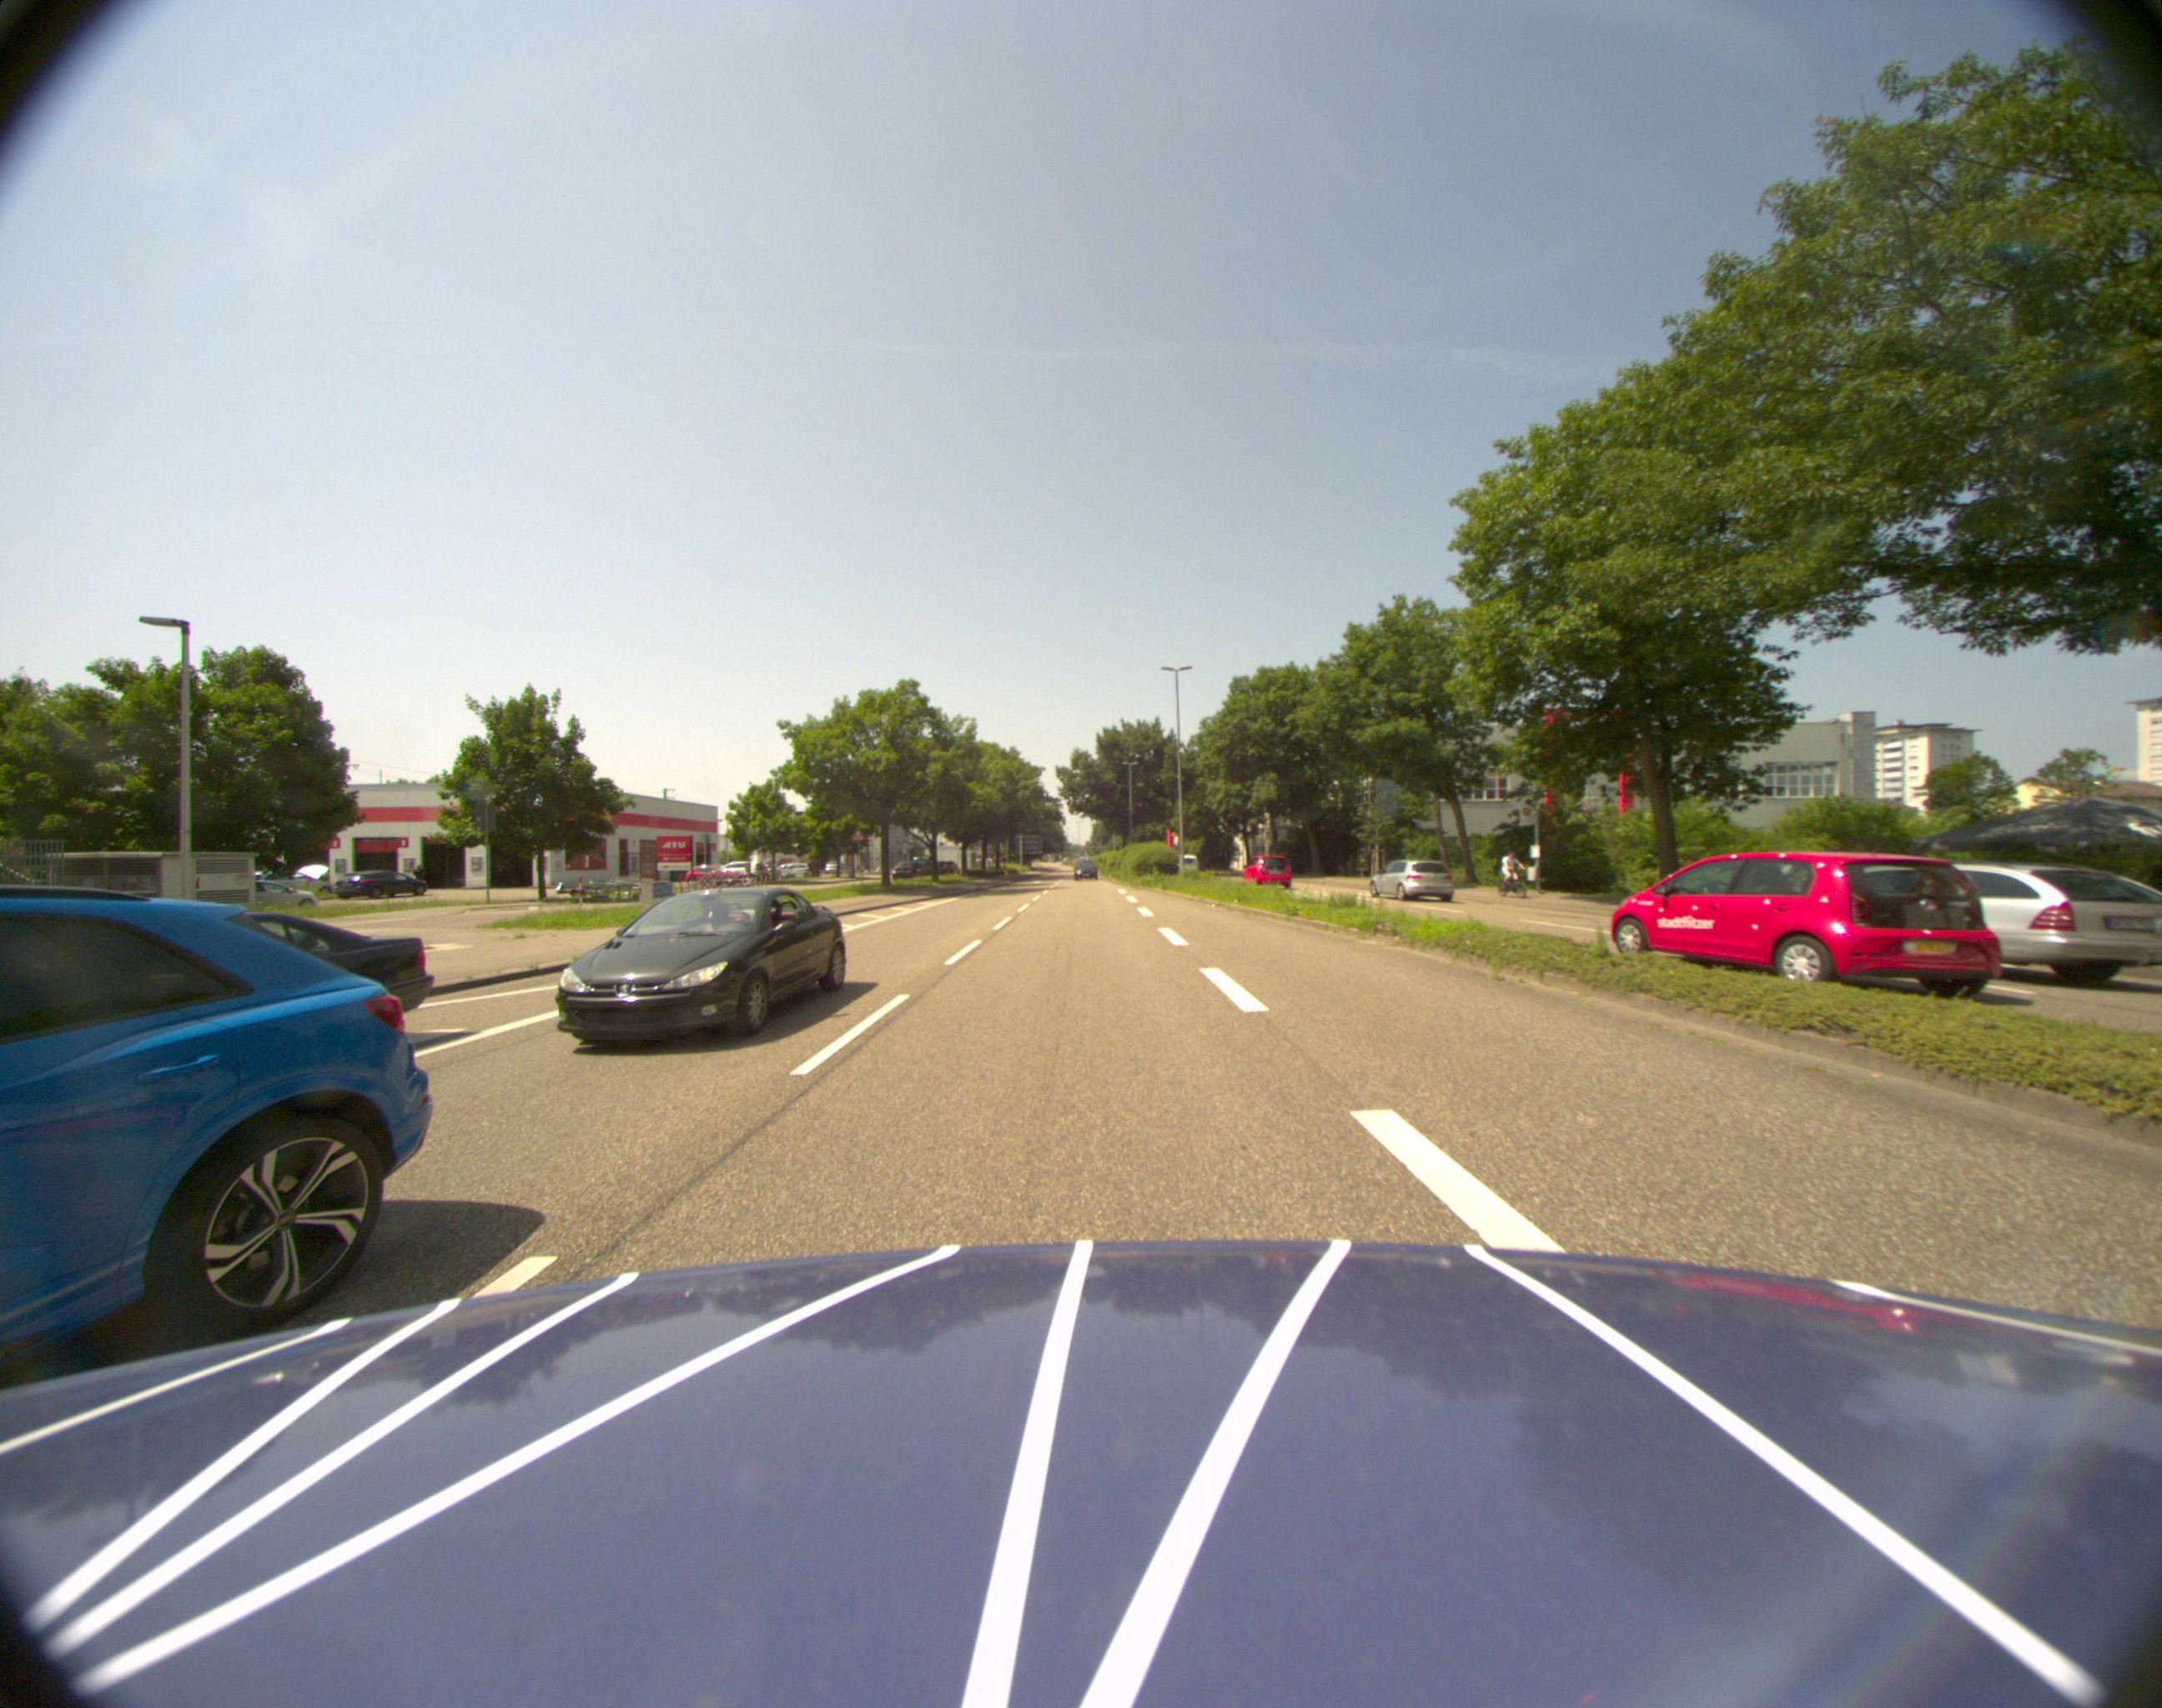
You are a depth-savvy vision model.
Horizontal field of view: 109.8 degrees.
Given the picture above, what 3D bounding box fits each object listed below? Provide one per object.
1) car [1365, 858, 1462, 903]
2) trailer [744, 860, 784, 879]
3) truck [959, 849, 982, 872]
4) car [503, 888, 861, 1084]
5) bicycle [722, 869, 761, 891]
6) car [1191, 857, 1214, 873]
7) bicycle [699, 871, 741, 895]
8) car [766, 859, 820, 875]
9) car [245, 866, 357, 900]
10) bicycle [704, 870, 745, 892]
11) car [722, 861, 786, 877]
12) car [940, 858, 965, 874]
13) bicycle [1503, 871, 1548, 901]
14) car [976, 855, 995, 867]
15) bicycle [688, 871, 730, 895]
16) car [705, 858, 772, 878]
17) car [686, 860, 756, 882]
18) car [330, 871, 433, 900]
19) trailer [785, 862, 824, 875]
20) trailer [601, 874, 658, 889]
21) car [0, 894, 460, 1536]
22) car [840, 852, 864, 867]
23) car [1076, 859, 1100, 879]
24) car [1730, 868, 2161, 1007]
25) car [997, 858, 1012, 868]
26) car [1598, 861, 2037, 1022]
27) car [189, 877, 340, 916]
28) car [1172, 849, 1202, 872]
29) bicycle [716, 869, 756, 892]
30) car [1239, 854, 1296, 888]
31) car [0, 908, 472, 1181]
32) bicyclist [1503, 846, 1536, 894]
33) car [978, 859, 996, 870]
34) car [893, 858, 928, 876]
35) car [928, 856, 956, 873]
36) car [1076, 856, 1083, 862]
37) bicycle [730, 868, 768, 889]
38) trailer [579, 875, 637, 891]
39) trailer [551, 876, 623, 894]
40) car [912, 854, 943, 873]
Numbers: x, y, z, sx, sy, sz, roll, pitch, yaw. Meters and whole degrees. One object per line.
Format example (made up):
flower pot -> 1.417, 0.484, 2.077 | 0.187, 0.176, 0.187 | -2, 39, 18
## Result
car -> 11.992, 0.903, 27.716 | 1.753, 1.442, 4.133 | 2, 0, 1
trailer -> -26.106, 1.286, 62.616 | 2.642, 1.518, 1.415 | -1, 0, -2
truck -> -12.606, 0.735, 87.119 | 1.904, 2.552, 4.001 | -1, 0, 2
car -> -3.794, 1.154, 8.122 | 1.642, 1.336, 4.000 | -3, 0, 0
bicycle -> -17.968, 1.384, 40.234 | 1.784, 1.117, 0.514 | -1, 0, -6
car -> 12.751, 1.147, 79.693 | 1.720, 1.594, 4.213 | 2, 0, 1
bicycle -> -18.099, 1.451, 38.101 | 1.784, 1.117, 0.514 | -1, 0, -6
car -> -24.550, 1.067, 64.829 | 3.998, 1.293, 1.689 | -1, 0, -2
car -> -41.696, 1.509, 40.781 | 1.717, 1.653, 4.145 | -1, 0, 0
bicycle -> -18.183, 1.373, 38.782 | 1.784, 1.117, 0.514 | -1, 0, -6
car -> -24.669, 1.122, 57.413 | 3.998, 1.201, 1.747 | -1, 0, -2
car -> -12.753, 1.168, 75.390 | 1.719, 1.504, 4.000 | -1, 0, 1
bicycle -> 15.208, 1.088, 26.044 | 0.619, 0.963, 1.660 | 0, 0, 1
car -> -11.665, 0.867, 93.195 | 1.719, 1.458, 4.000 | -1, 0, 1
bicycle -> -18.323, 1.415, 37.416 | 1.784, 1.117, 0.514 | -1, 0, -6
car -> -24.663, 0.983, 54.766 | 3.998, 1.394, 1.747 | -1, 0, -2
car -> -25.008, 1.168, 52.822 | 3.998, 1.394, 1.747 | -1, 0, -2
car -> -37.755, 1.657, 41.152 | 1.717, 1.364, 4.145 | -1, 0, 0
trailer -> -22.851, 1.190, 62.828 | 2.642, 1.046, 1.578 | -1, 0, -2
trailer -> -23.750, 1.436, 40.000 | 2.137, 0.757, 1.394 | -1, 0, 2
car -> -3.740, 0.994, 1.199 | 1.842, 1.586, 4.400 | -1, 0, 0
car -> -25.251, 0.606, 83.850 | 1.759, 1.586, 3.998 | -1, 0, -6
car -> 0.498, 1.061, 54.622 | 1.642, 1.395, 4.000 | -1, 0, 0
car -> 11.721, 0.964, 10.459 | 1.782, 1.396, 4.359 | 2, 0, 0
car -> -11.389, 1.318, 113.375 | 1.719, 1.458, 4.000 | -1, 0, 1
car -> 8.098, 0.831, 8.891 | 1.584, 1.433, 3.608 | 1, 0, -1
car -> -32.203, 1.653, 30.154 | 1.653, 1.305, 3.973 | -1, 0, 0
car -> 9.142, 0.541, 65.855 | 1.856, 1.894, 4.425 | 2, 0, 0
bicycle -> -17.930, 1.378, 39.518 | 1.784, 1.117, 0.514 | -1, 0, -6
car -> 9.021, 0.788, 37.112 | 1.753, 1.560, 4.153 | 2, 0, 1
car -> -7.066, 1.256, 5.599 | 1.642, 1.363, 4.146 | -3, 0, 3
bicyclist -> 15.221, 0.537, 26.385 | 0.609, 1.621, 0.923 | 0, 1, 1
car -> -12.266, 1.368, 99.586 | 1.719, 1.458, 4.000 | -1, 0, 1
car -> -12.922, 0.964, 57.842 | 1.642, 1.363, 4.000 | -1, 0, 1
car -> -12.687, 0.970, 69.487 | 1.719, 1.511, 4.000 | -1, 0, 1
car -> -0.410, 1.572, 230.313 | 1.998, 1.692, 4.000 | -1, 0, 0
bicycle -> -17.820, 1.324, 40.856 | 1.784, 1.117, 0.514 | -1, 0, -6
trailer -> -23.804, 1.463, 38.253 | 2.137, 0.757, 1.267 | -1, 0, 2
trailer -> -23.650, 1.479, 36.413 | 2.466, 0.757, 1.449 | -1, 0, 2
car -> -12.876, 0.785, 63.954 | 1.719, 1.458, 4.000 | -1, 0, 1
